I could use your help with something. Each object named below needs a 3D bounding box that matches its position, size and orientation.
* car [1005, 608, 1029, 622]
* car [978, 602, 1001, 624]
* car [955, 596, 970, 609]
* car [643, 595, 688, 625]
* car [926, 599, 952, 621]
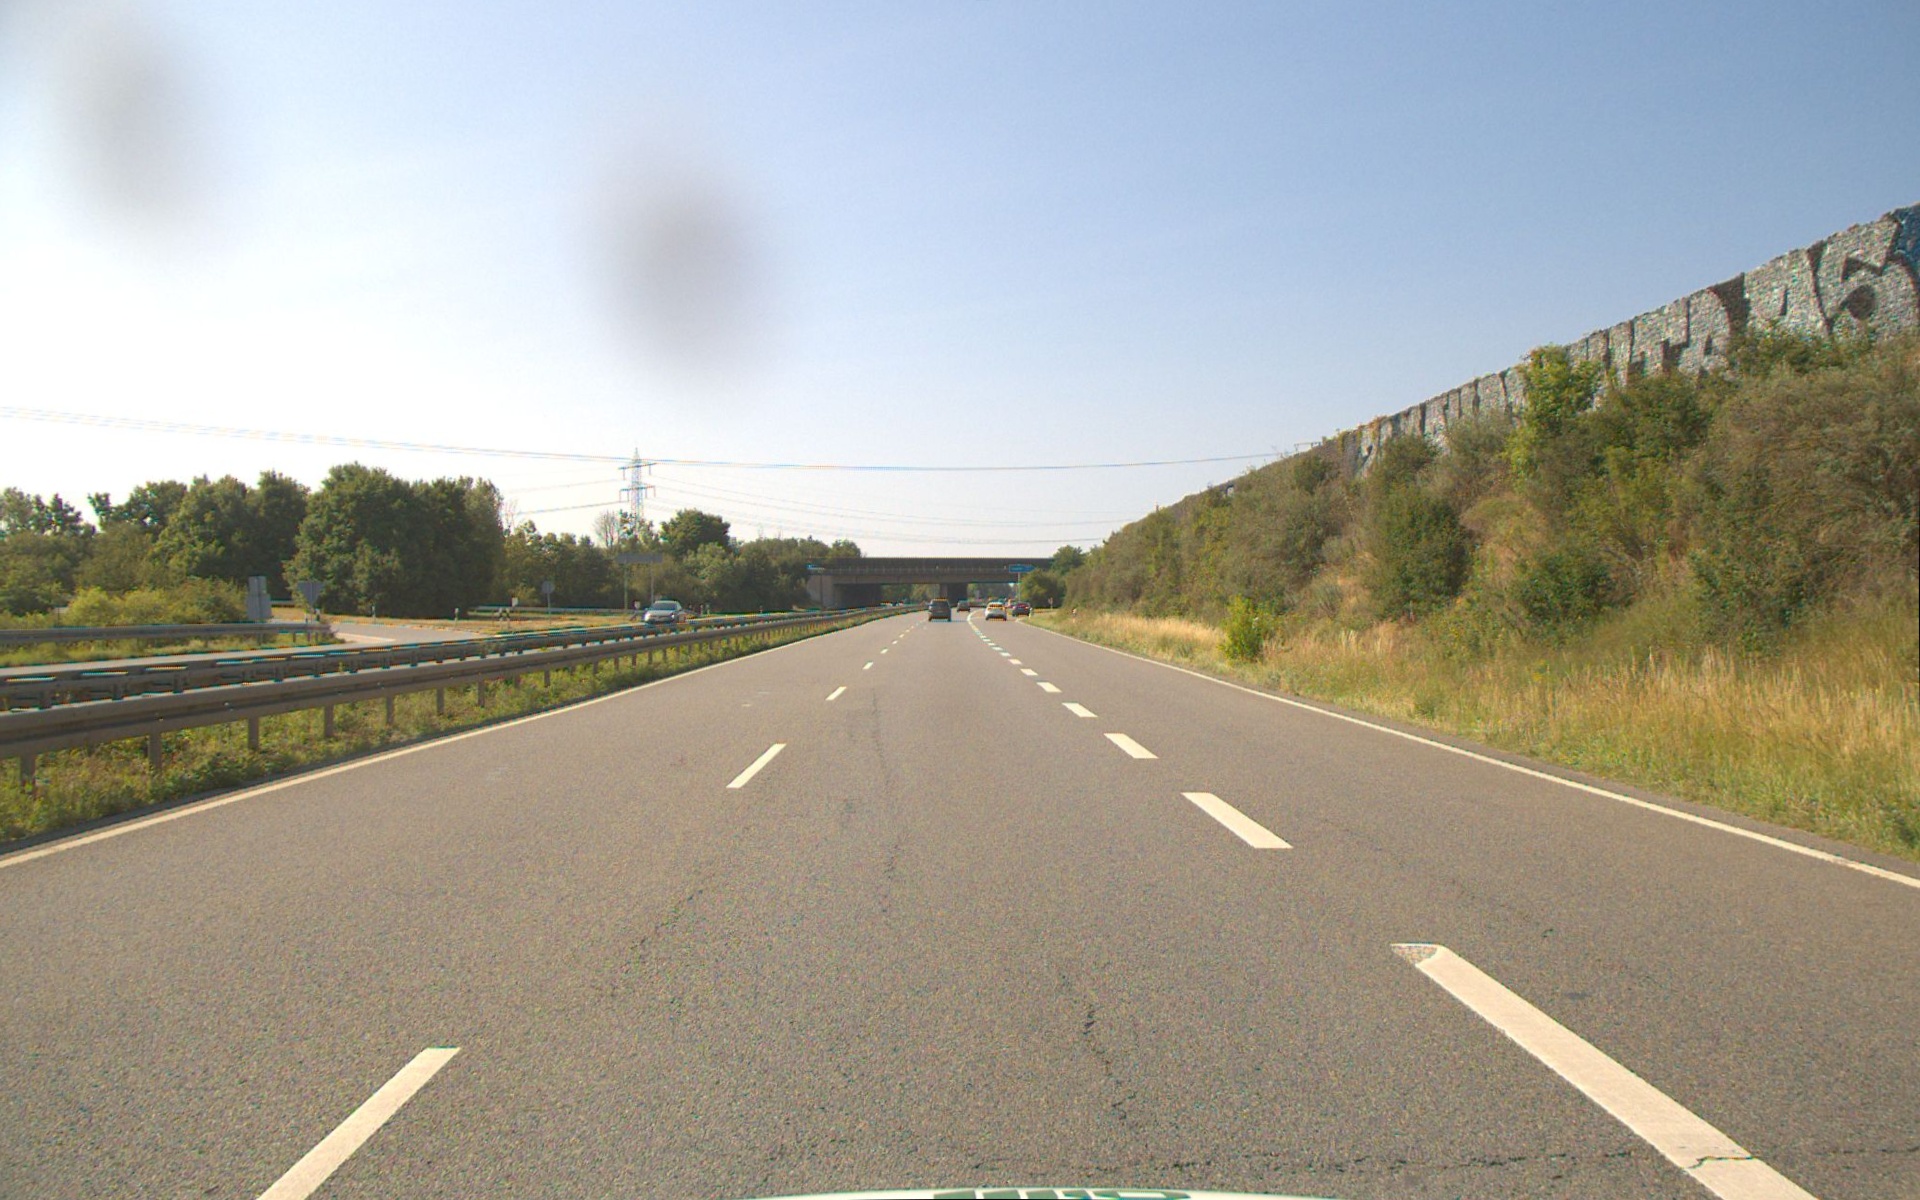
[{"bbox_3d":[5.890,1.507,170.031,1.861,1.320,4.003,2,0,11],"label":"car"},{"bbox_3d":[2.474,1.092,137.499,1.759,1.694,4.001,2,0,2],"label":"car"},{"bbox_3d":[0.377,0.298,218.089,1.811,1.673,4.001,0,0,2],"label":"car"},{"bbox_3d":[-15.953,0.521,89.768,1.666,1.511,4.619,2,0,-1],"label":"car"},{"bbox_3d":[-1.579,0.751,127.205,1.811,1.673,4.001,0,0,2],"label":"car"}]
